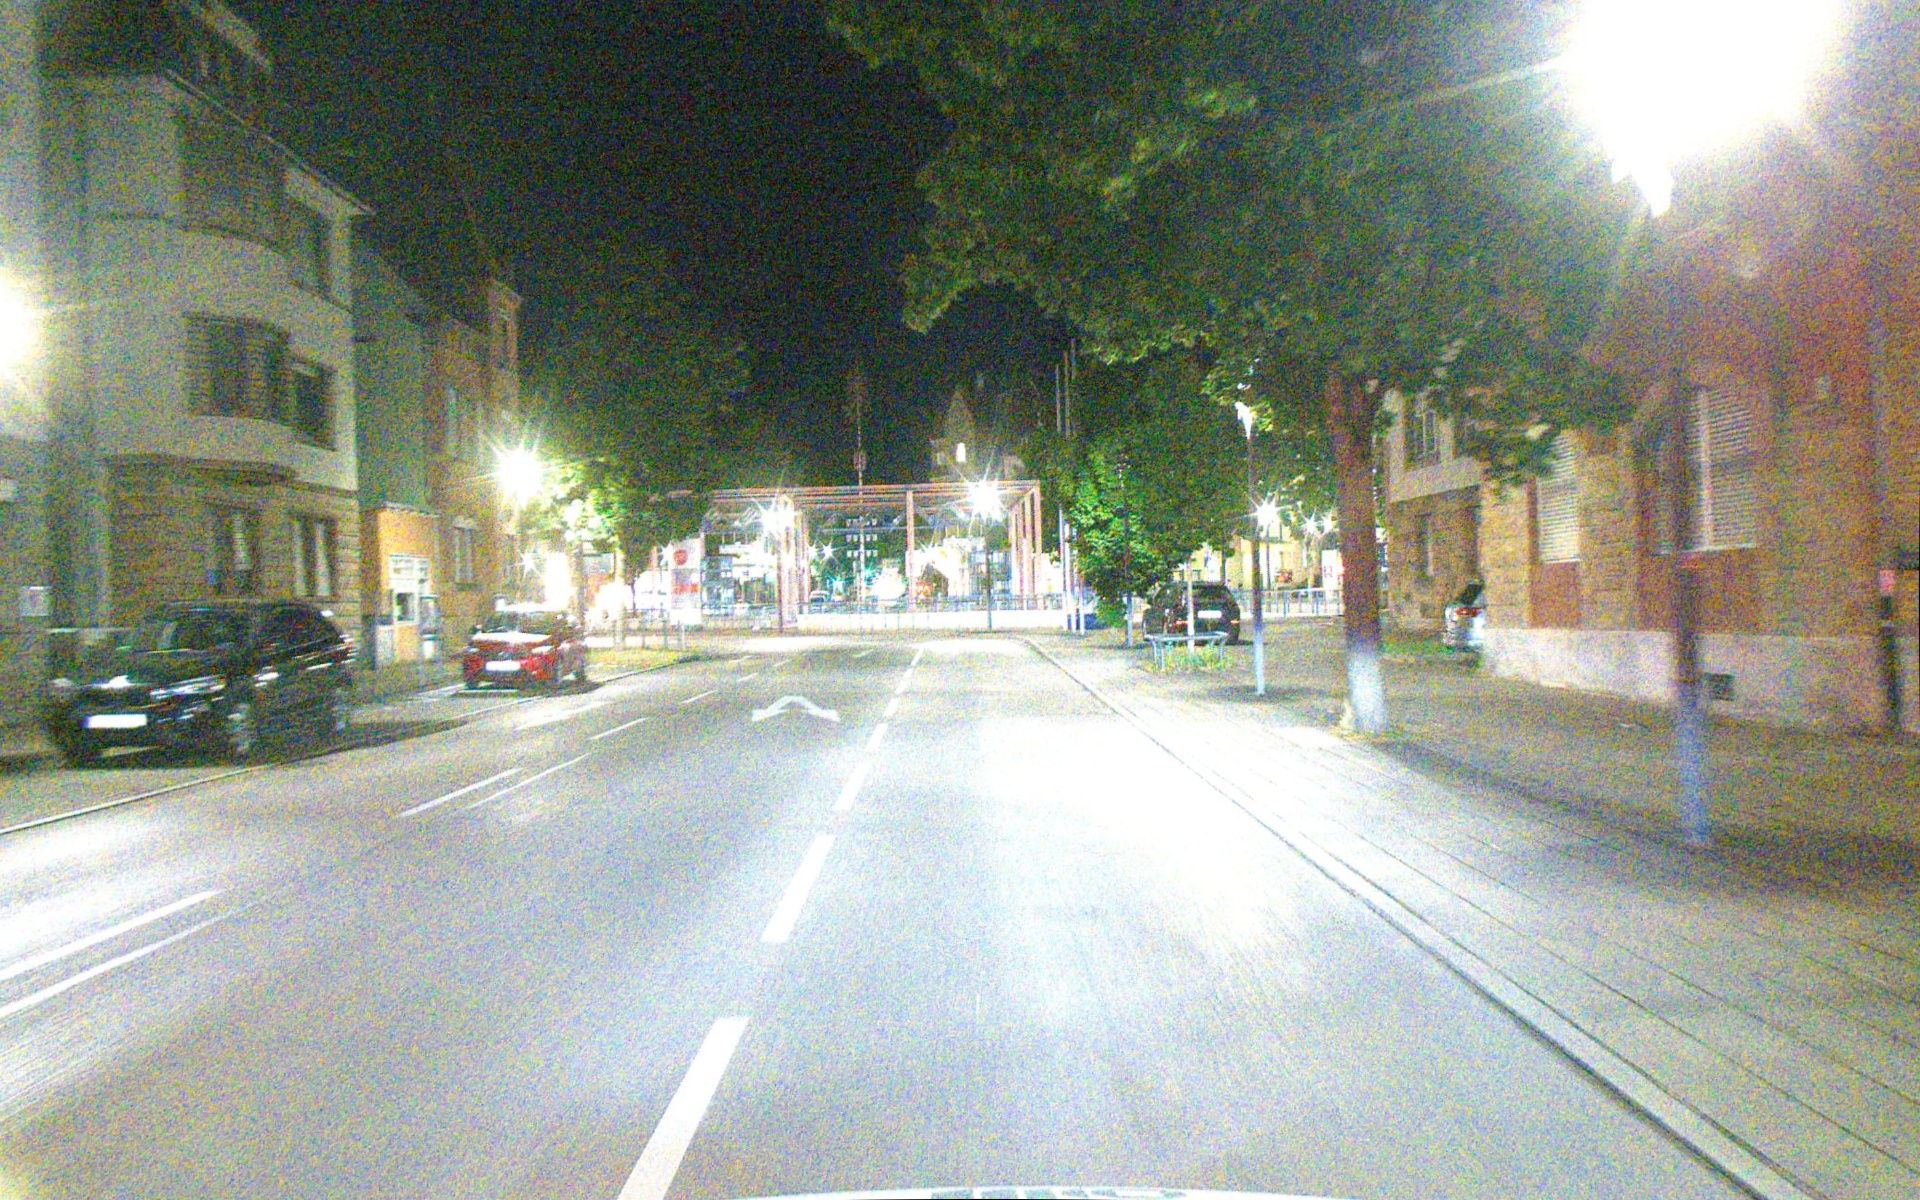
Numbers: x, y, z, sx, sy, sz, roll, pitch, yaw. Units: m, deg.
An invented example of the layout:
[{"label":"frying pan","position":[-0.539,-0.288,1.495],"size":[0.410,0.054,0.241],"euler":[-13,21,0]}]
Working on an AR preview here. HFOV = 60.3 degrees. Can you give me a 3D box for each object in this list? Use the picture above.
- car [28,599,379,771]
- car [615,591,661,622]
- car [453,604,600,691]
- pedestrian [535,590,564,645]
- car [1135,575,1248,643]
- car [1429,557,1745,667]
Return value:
[{"label":"car","position":[-8.078,0.818,18.170],"size":[1.747,1.609,4.412],"euler":[1,1,1]},{"label":"car","position":[-17.881,0.320,91.884],"size":[1.954,1.601,4.325],"euler":[-2,1,-4]},{"label":"car","position":[-7.956,0.826,30.731],"size":[1.748,1.440,4.125],"euler":[-1,1,-2]},{"label":"pedestrian","position":[-13.934,0.606,56.119],"size":[0.680,1.854,0.721],"euler":[-2,-1,43]},{"label":"car","position":[5.480,0.187,39.687],"size":[1.699,1.485,4.723],"euler":[-2,0,-4]},{"label":"car","position":[9.881,0.172,26.326],"size":[4.333,1.485,1.790],"euler":[-3,1,5]}]
